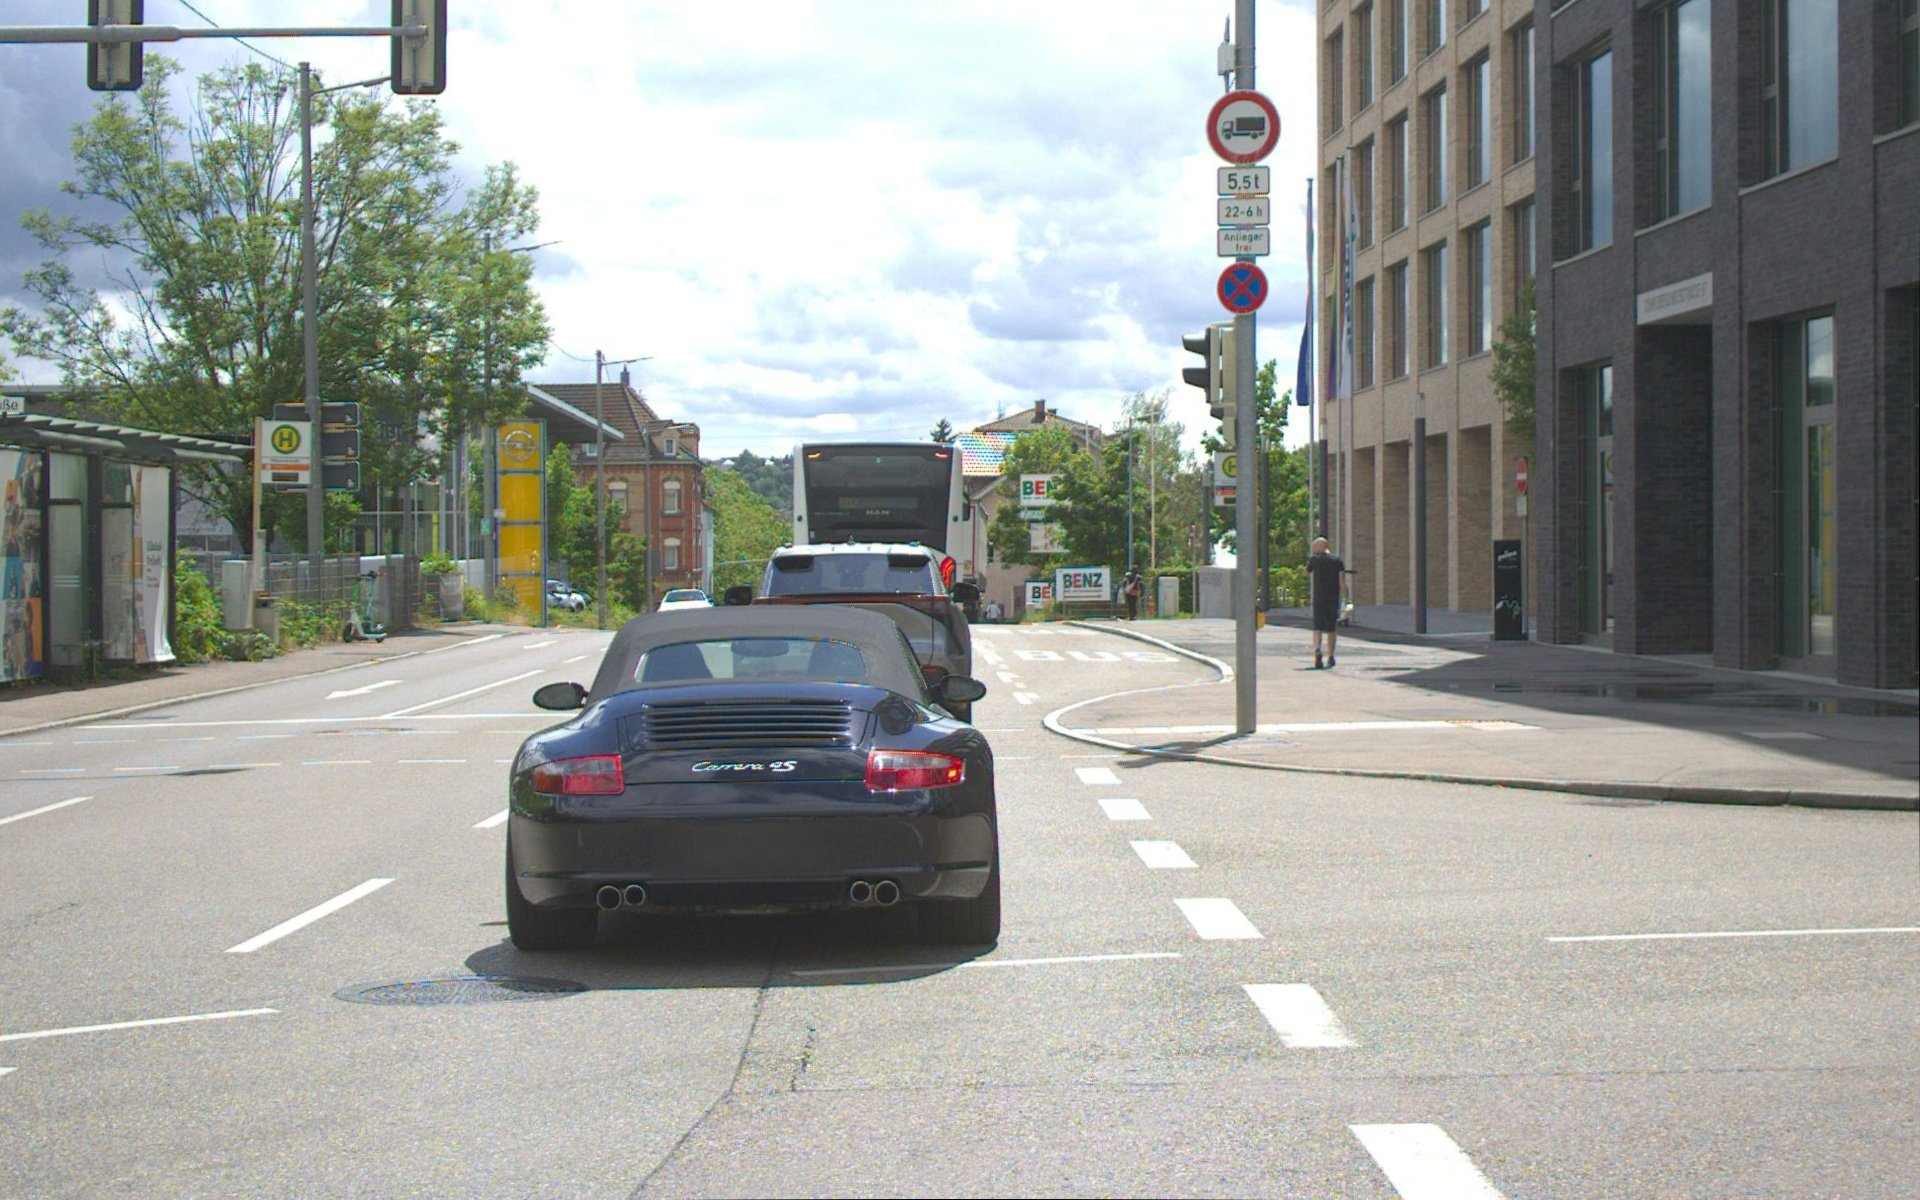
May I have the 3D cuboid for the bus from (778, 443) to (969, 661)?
[{"bbox_3d":[-1.274,-0.792,56.702,2.802,3.187,12.196,0,1,0],"label":"bus"}]

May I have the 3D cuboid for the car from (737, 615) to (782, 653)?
[{"bbox_3d":[-8.351,1.414,143.146,1.829,1.504,4.277,-1,-1,-3],"label":"car"}]

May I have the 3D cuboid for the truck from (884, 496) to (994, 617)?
[{"bbox_3d":[-0.617,-1.159,91.854,2.713,3.044,7.714,-1,1,-2],"label":"truck"}]

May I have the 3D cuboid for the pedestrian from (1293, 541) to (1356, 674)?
[{"bbox_3d":[4.772,0.094,45.030,0.683,1.722,0.962,0,1,-2],"label":"pedestrian"}]

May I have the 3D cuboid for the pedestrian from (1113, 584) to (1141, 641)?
[{"bbox_3d":[4.524,0.329,93.179,0.687,1.531,0.856,-1,0,-2],"label":"pedestrian"}]

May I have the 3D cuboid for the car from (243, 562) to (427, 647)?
[{"bbox_3d":[-15.132,0.101,83.461,4.160,2.007,2.199,0,1,-3],"label":"car"}]

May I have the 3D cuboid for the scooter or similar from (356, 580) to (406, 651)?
[{"bbox_3d":[-10.451,0.271,62.071,0.535,1.262,1.471,1,0,4],"label":"scooter or similar"}]

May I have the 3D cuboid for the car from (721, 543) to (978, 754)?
[{"bbox_3d":[-0.957,0.341,27.914,1.930,1.577,4.208,0,1,-4],"label":"car"}]

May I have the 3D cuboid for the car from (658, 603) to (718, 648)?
[{"bbox_3d":[-9.081,0.842,115.019,1.796,1.372,4.225,-2,1,-2],"label":"car"}]

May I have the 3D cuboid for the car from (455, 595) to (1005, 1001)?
[{"bbox_3d":[-0.826,0.695,14.225,1.930,1.372,4.208,0,1,0],"label":"car"}]

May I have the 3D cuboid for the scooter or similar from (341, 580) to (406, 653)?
[{"bbox_3d":[-10.325,0.291,60.574,0.535,1.258,1.470,1,0,16],"label":"scooter or similar"}]

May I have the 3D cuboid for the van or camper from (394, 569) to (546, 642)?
[{"bbox_3d":[-17.104,0.181,120.133,5.026,2.522,2.318,0,1,-2],"label":"van or camper"}]
